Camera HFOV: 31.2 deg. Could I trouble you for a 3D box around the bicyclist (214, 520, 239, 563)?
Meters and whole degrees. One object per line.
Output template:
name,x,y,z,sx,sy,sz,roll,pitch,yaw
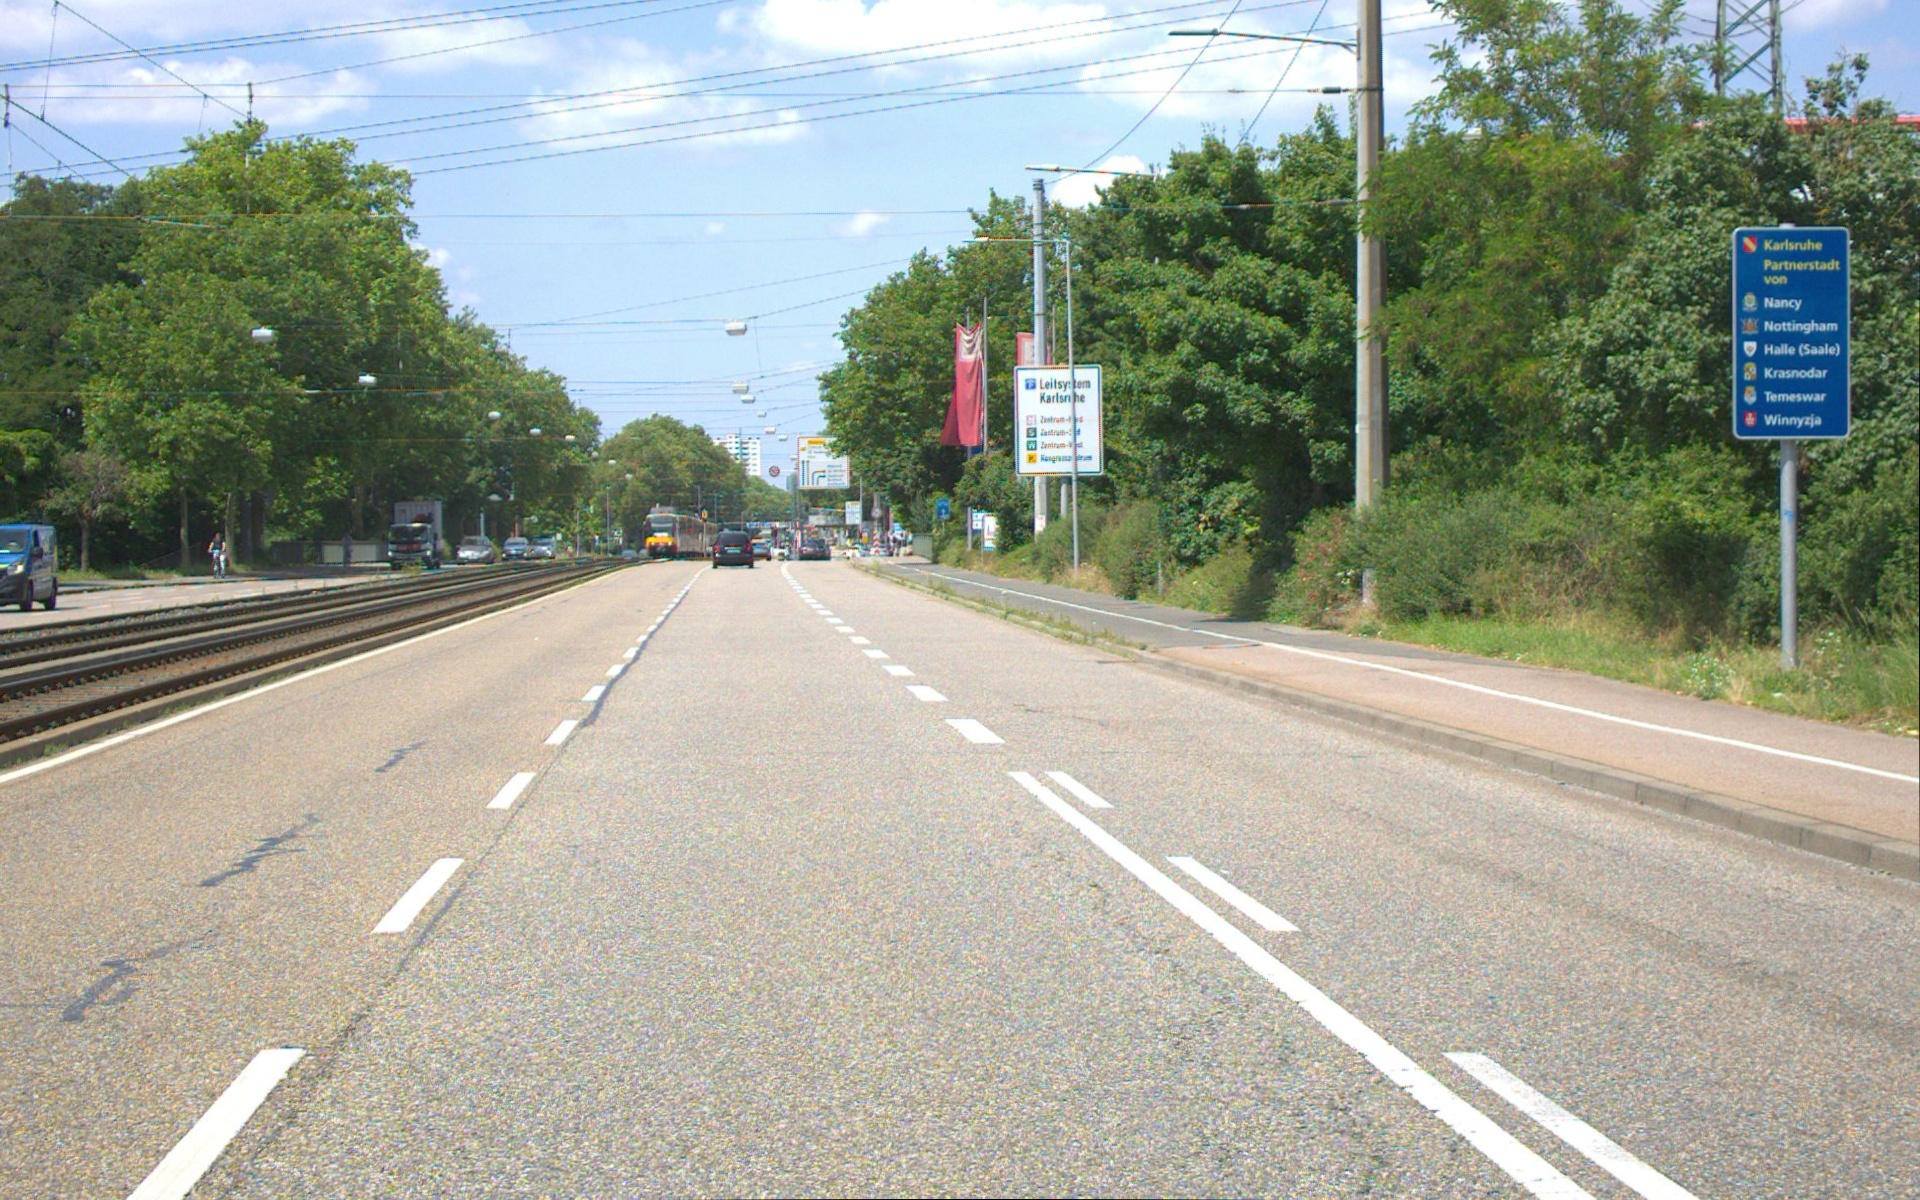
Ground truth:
bicyclist,-27.987,-2.235,131.175,0.650,1.614,1.155,1,1,0

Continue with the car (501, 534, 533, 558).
car,-28.024,-3.413,217.508,1.636,1.417,4.128,-2,1,-3

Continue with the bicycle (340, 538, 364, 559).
bicycle,-28.876,-2.448,163.279,0.623,0.976,2.054,2,1,2

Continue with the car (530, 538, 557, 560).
car,-28.737,-3.502,237.100,1.636,1.431,3.722,-2,1,-4

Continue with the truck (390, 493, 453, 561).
truck,-25.958,-3.534,165.840,2.249,3.225,6.043,-1,1,-2

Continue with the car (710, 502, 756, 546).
car,-9.685,-3.236,146.968,1.899,1.799,3.977,1,1,-4

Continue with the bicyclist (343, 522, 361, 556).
bicyclist,-28.865,-2.911,163.223,0.623,1.612,1.062,2,1,2

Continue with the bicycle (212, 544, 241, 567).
bicycle,-27.997,-1.710,131.220,0.650,0.856,2.120,1,1,0

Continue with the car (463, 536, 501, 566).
car,-26.143,-2.683,188.113,1.752,1.530,3.958,-2,1,-4

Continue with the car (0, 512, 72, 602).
car,-21.307,-0.968,76.803,1.857,1.921,5.009,-2,1,-4
